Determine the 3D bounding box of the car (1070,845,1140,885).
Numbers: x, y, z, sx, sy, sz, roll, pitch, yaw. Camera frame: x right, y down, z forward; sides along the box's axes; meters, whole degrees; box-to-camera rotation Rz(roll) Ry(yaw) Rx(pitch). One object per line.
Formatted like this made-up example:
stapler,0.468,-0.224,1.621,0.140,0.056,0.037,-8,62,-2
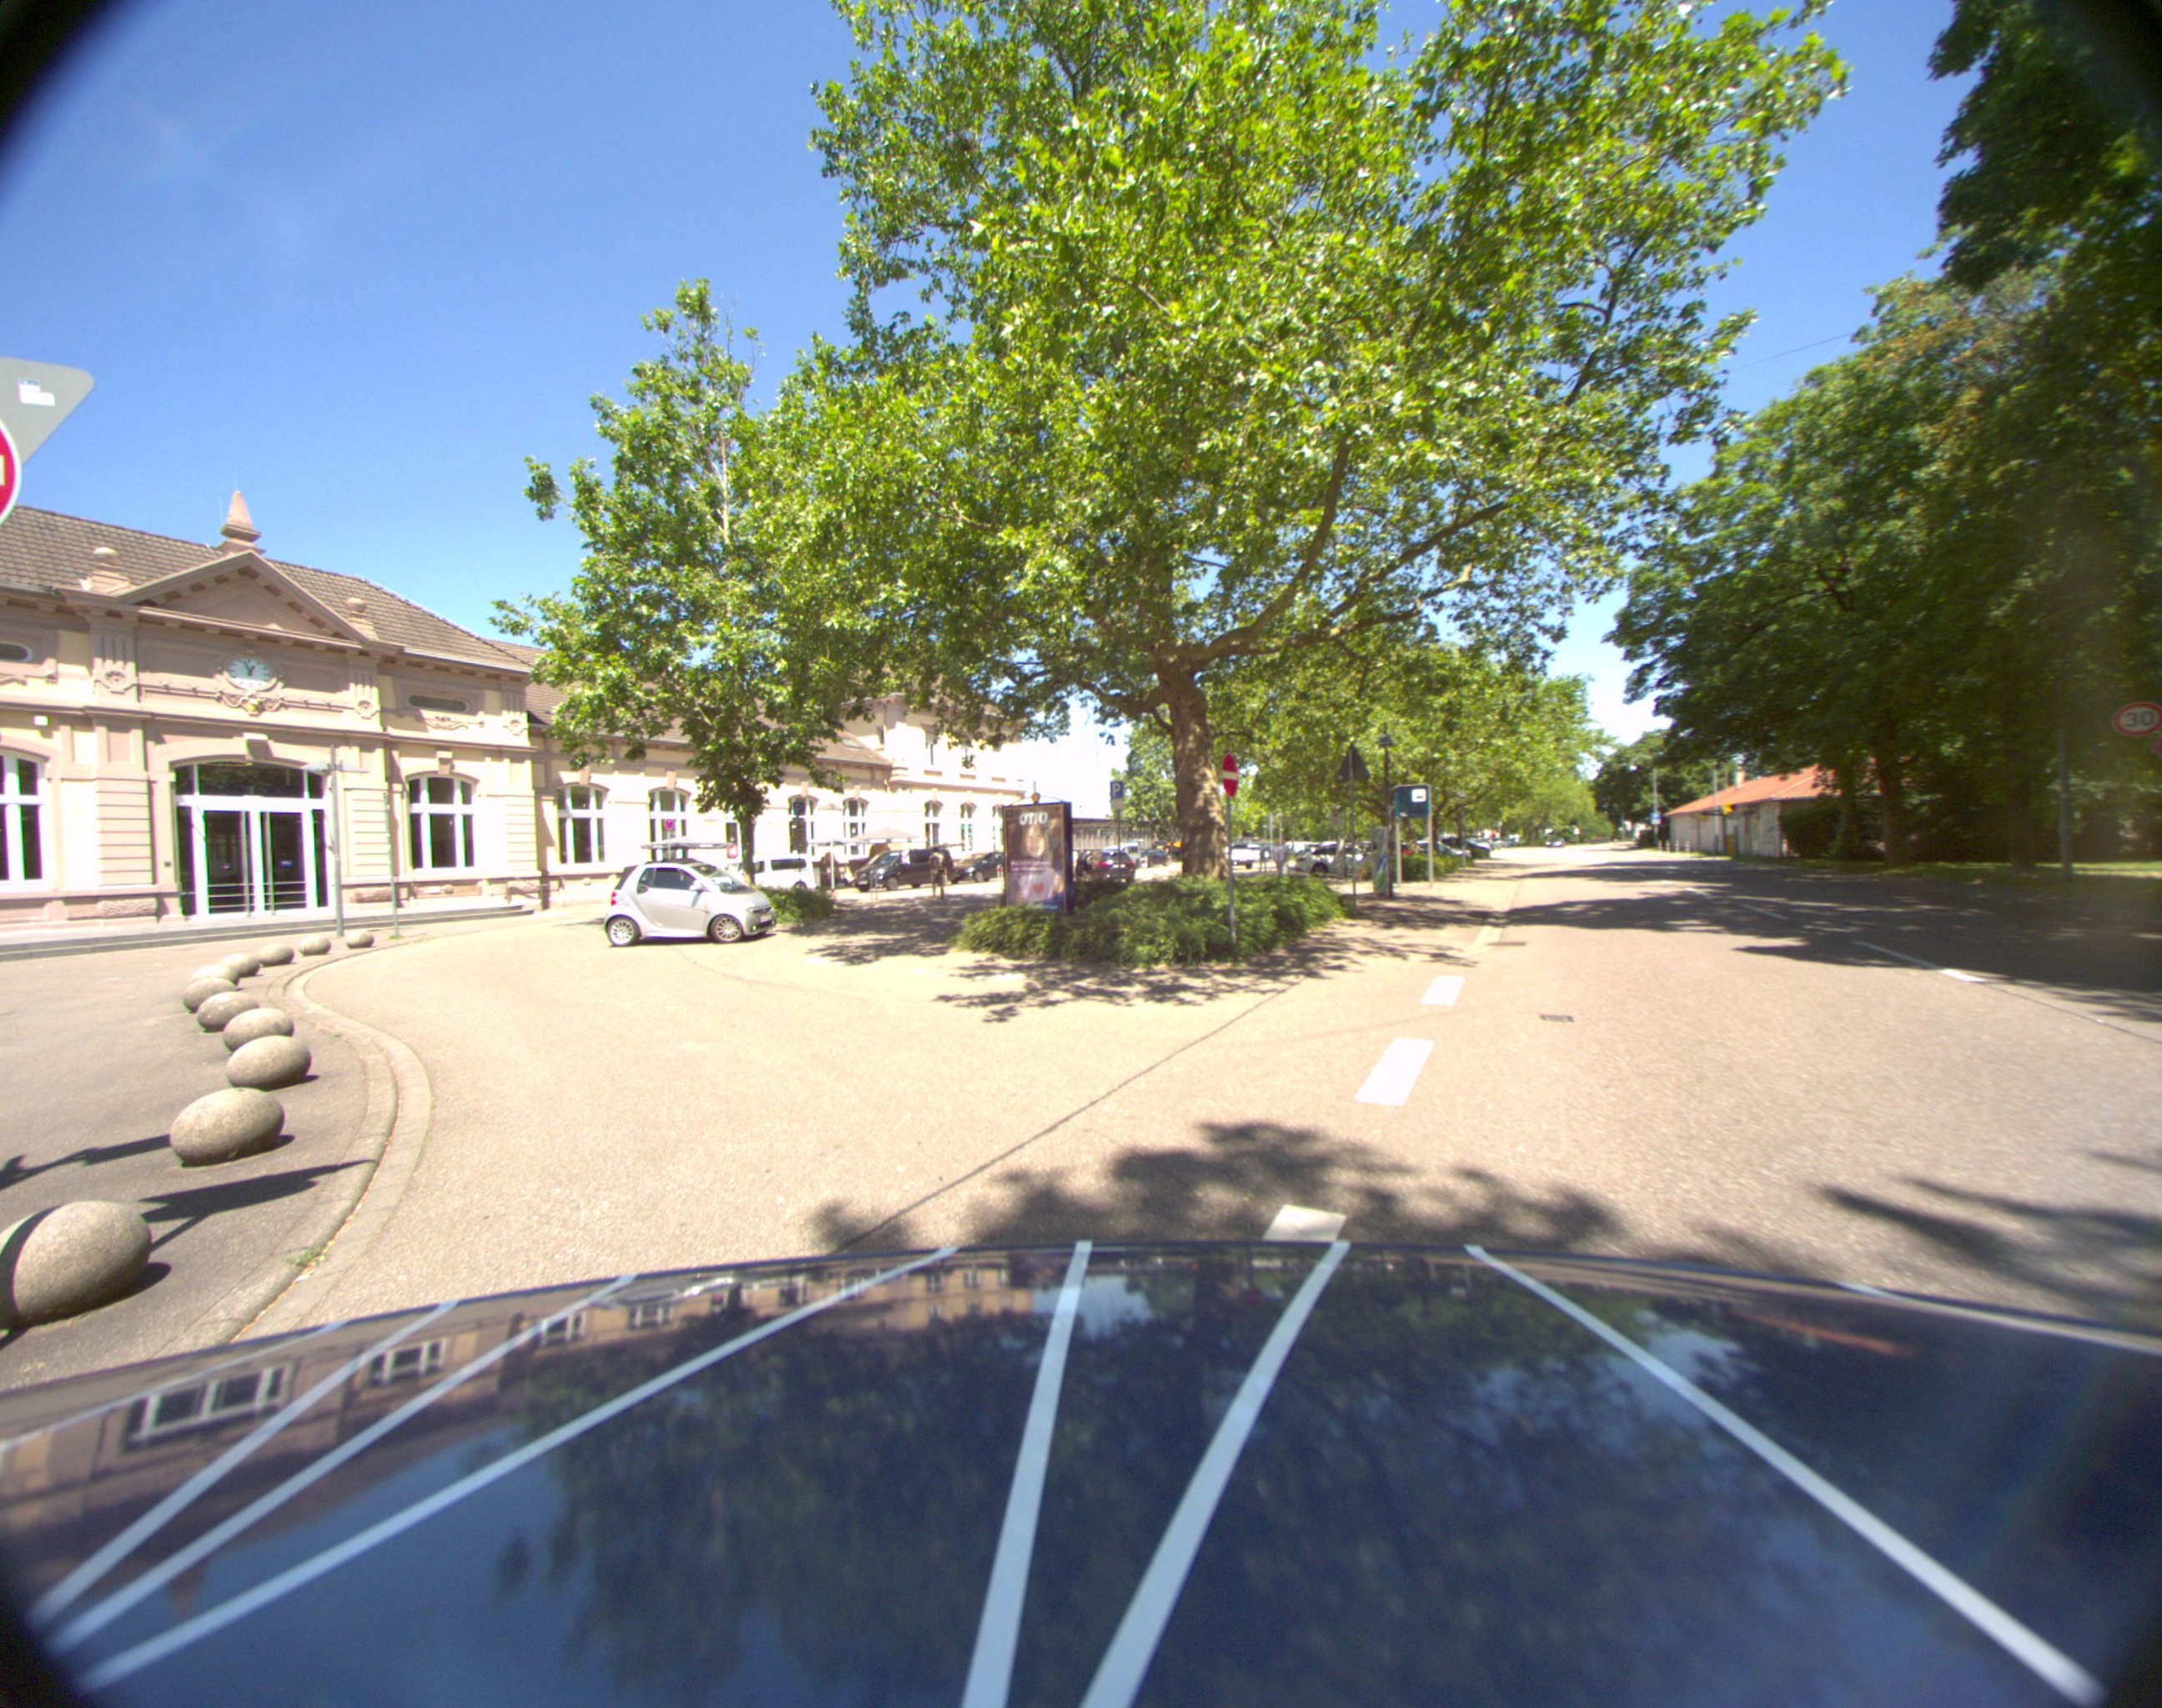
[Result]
car,0.989,0.444,34.022,1.801,1.534,4.522,-3,2,-15

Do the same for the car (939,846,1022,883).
car,-5.328,0.521,41.113,2.076,1.829,4.849,-2,0,26

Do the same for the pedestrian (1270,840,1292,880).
pedestrian,9.137,0.267,34.726,0.837,1.760,0.852,-2,1,10

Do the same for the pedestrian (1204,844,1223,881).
pedestrian,5.600,0.370,32.009,0.588,1.539,0.612,0,2,32

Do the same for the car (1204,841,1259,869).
car,9.449,0.022,48.101,1.801,1.596,4.057,-3,2,-14

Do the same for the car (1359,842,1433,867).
car,19.523,0.029,47.190,3.873,1.452,1.636,-2,1,3

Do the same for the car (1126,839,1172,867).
car,5.373,-0.131,59.568,2.000,1.978,4.610,-3,0,26

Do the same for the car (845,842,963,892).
car,-8.066,0.557,35.439,2.088,2.111,5.835,-2,0,26

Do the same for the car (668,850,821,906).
car,-12.525,0.848,28.695,1.810,1.854,5.148,-2,0,29

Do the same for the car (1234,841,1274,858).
car,14.984,-0.369,65.949,1.805,1.395,3.507,-2,0,-19

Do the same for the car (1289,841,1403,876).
car,12.124,0.198,35.063,4.770,1.409,1.788,-2,1,12

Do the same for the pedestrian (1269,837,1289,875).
pedestrian,9.338,0.087,35.845,0.837,1.760,0.852,-2,1,12

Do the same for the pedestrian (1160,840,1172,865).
pedestrian,6.927,-0.128,61.823,0.627,1.978,0.618,-3,0,26

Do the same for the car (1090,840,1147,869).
car,2.687,0.026,53.641,2.000,1.829,5.327,-3,0,26

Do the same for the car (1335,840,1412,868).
car,17.068,-0.001,44.454,3.873,1.452,1.636,-2,1,3

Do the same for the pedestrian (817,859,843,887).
pedestrian,-12.708,0.966,38.447,0.879,1.363,0.853,0,2,27

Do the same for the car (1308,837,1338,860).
car,20.695,-0.488,65.048,1.736,1.883,4.002,-2,1,7

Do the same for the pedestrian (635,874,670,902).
pedestrian,-17.185,1.349,30.456,0.879,1.073,0.853,0,2,27

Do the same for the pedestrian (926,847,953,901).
pedestrian,-4.696,0.650,25.190,0.774,1.707,0.814,-2,1,-16

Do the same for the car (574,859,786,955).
car,-7.486,0.960,14.392,3.103,1.584,1.602,-2,1,2

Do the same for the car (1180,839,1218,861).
car,11.310,-0.394,72.721,1.995,1.779,4.255,-4,0,32

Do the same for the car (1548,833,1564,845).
car,64.020,-2.036,102.434,1.658,1.368,3.457,-5,-1,32

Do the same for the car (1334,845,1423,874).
car,15.802,0.287,40.507,4.024,1.397,1.878,-2,1,2
